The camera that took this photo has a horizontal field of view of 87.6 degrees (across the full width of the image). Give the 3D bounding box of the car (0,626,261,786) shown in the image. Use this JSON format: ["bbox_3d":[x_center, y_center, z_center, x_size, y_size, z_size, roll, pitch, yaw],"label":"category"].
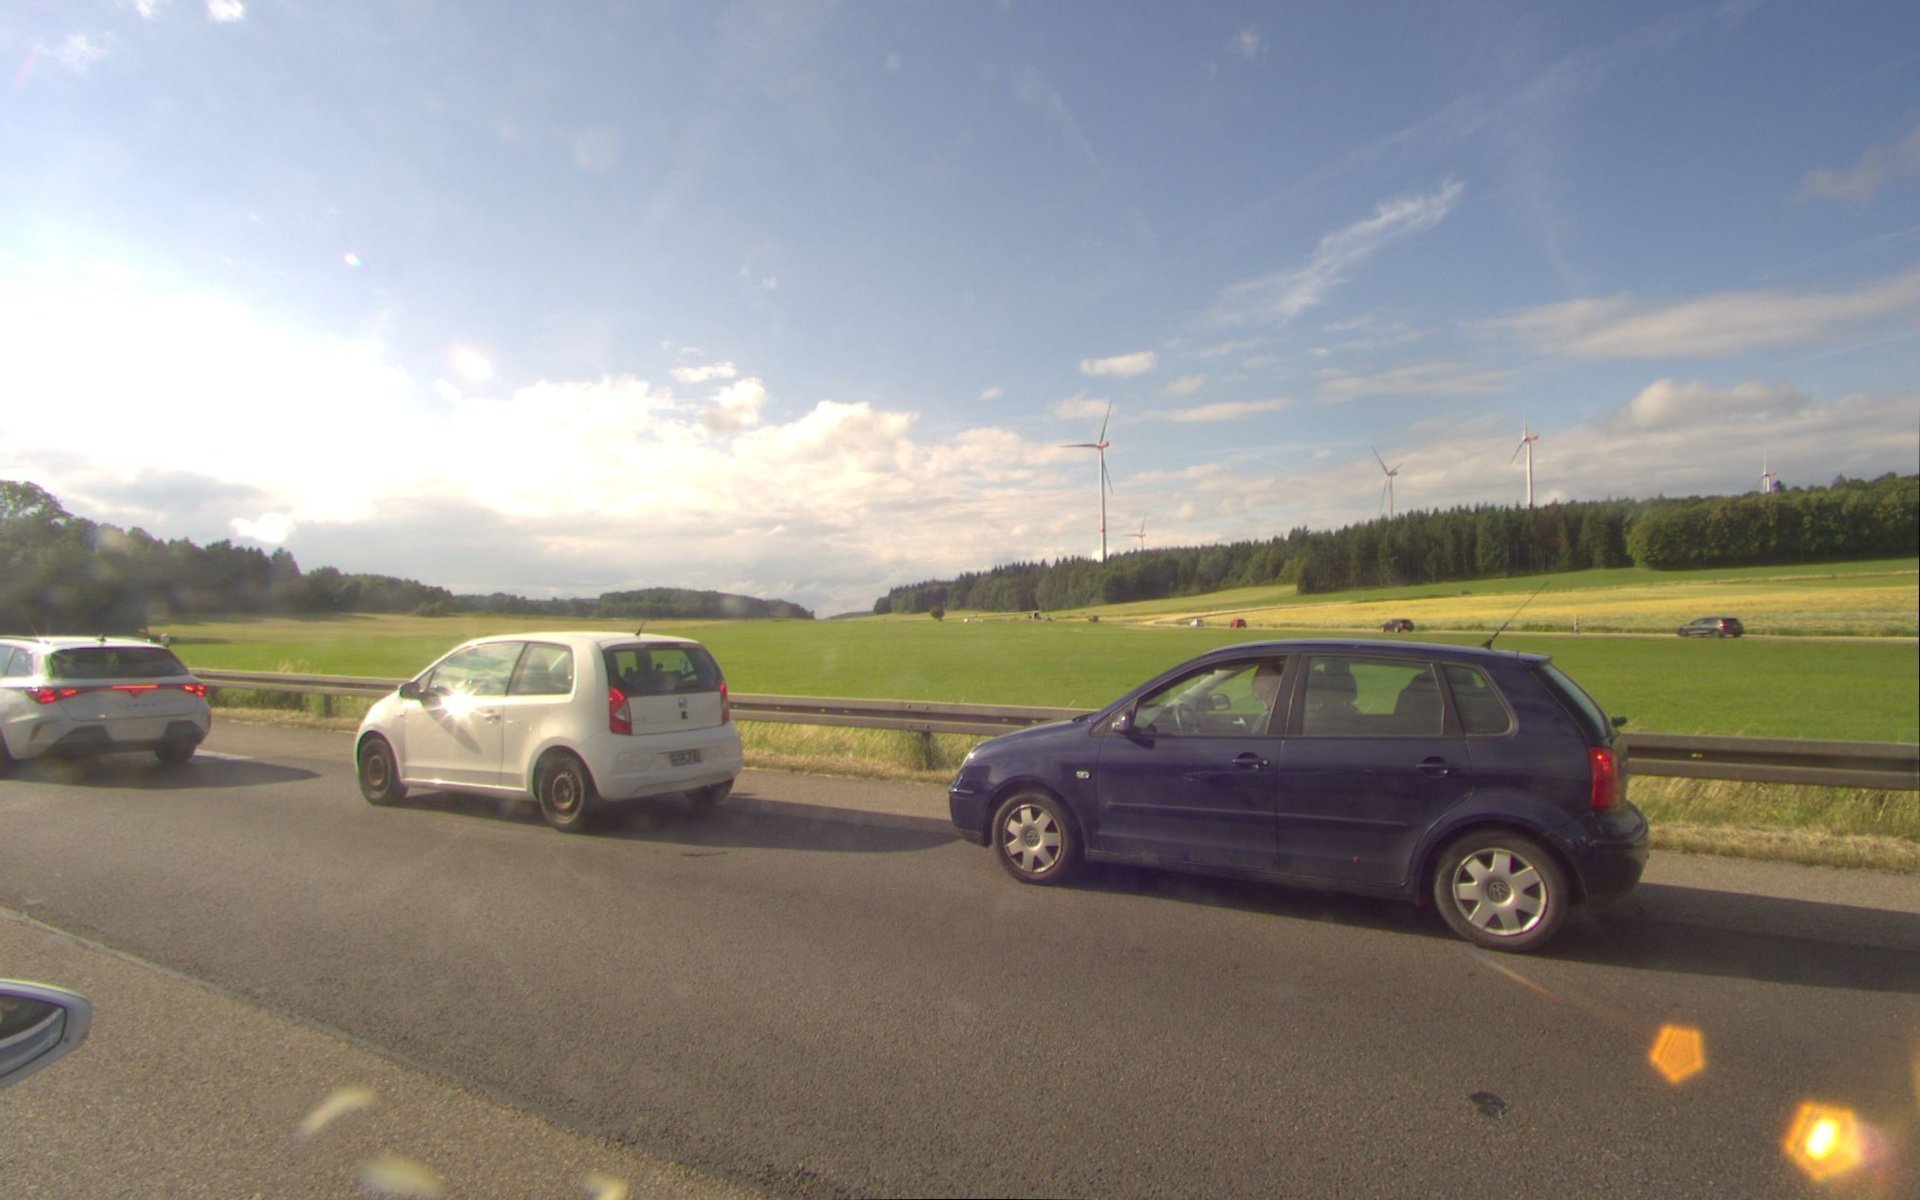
[{"bbox_3d":[-9.585,1.041,10.918,4.084,1.464,1.619,-1,-2,29],"label":"car"}]

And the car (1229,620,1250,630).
[{"bbox_3d":[44.738,3.987,160.528,1.803,1.505,4.221,0,-2,-6],"label":"car"}]

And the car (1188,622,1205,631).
[{"bbox_3d":[43.451,4.871,183.918,1.803,1.505,4.288,0,-2,-6],"label":"car"}]

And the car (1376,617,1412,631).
[{"bbox_3d":[47.509,2.614,109.726,1.803,1.505,4.221,0,-2,-6],"label":"car"}]

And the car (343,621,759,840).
[{"bbox_3d":[-3.512,0.956,8.525,3.326,1.514,1.547,0,-1,29],"label":"car"}]

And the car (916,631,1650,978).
[{"bbox_3d":[1.748,0.928,5.938,3.719,1.464,1.708,-1,-2,31],"label":"car"}]

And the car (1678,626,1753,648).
[{"bbox_3d":[53.063,2.594,70.401,1.803,1.505,4.221,0,-2,-6],"label":"car"}]
